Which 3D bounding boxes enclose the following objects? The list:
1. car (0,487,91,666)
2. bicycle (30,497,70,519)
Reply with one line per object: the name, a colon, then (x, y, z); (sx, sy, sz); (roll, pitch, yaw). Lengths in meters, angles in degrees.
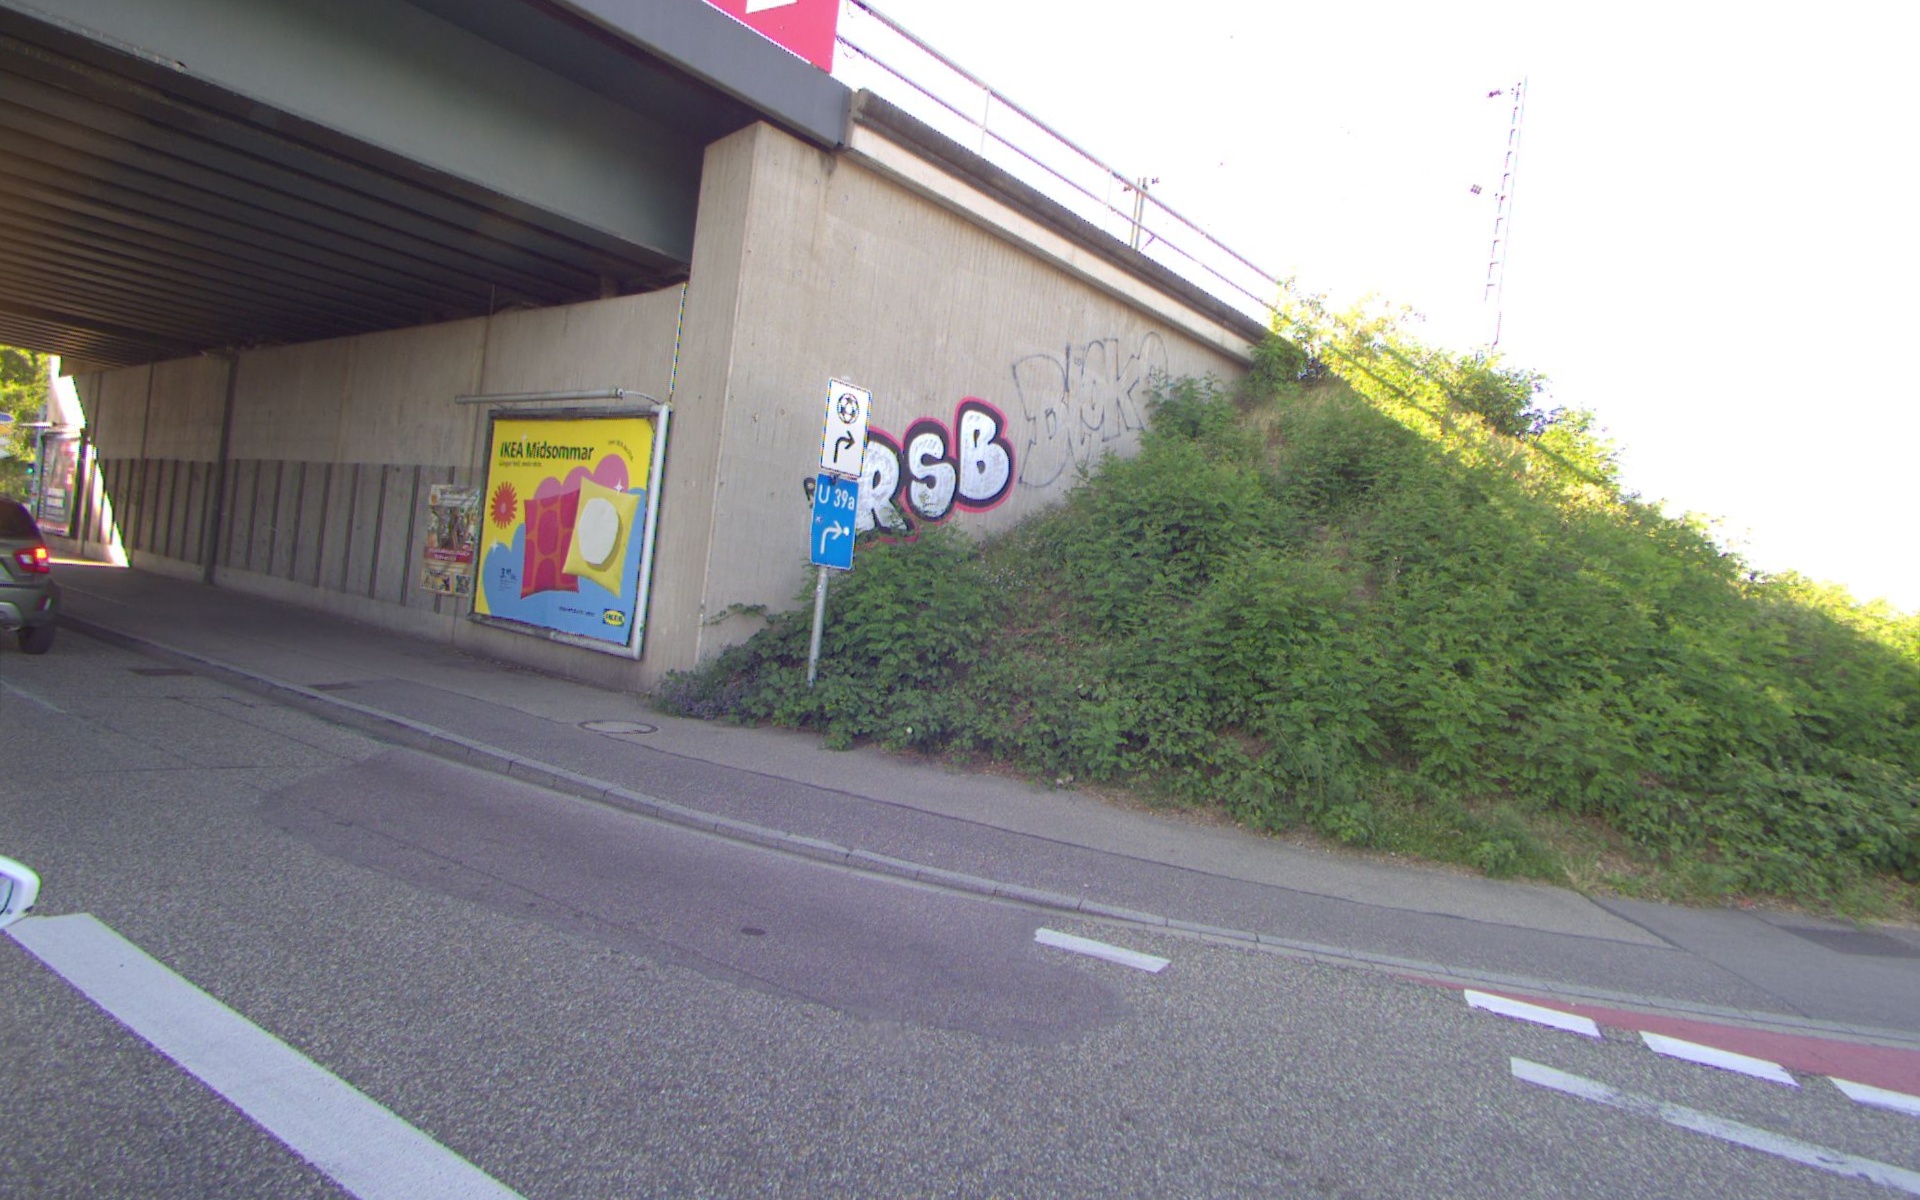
car: (-10.843, -0.435, 10.332); (3.996, 1.649, 1.740); (6, -2, 33)
bicycle: (-53.853, -5.456, 59.560); (1.652, 1.004, 0.572); (7, 3, -35)
